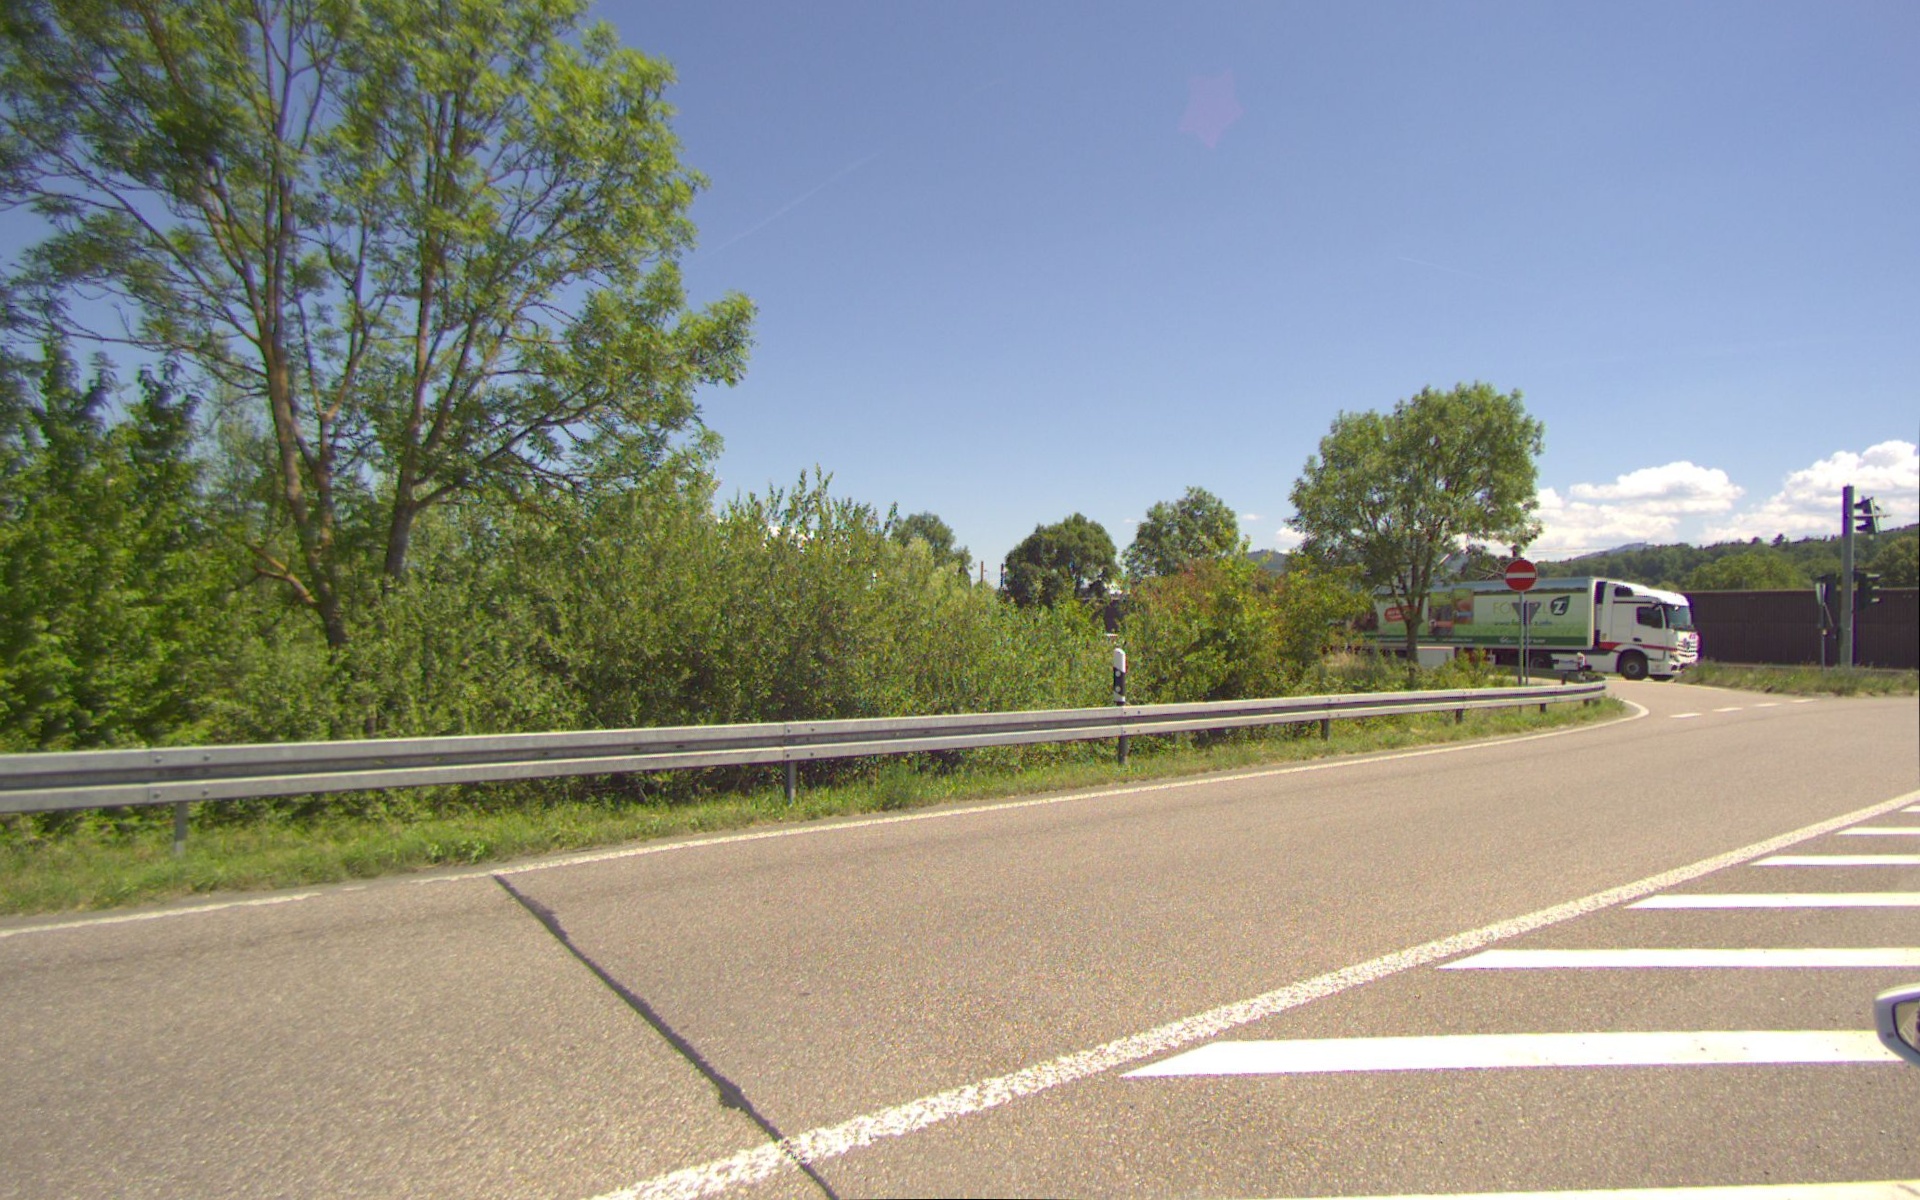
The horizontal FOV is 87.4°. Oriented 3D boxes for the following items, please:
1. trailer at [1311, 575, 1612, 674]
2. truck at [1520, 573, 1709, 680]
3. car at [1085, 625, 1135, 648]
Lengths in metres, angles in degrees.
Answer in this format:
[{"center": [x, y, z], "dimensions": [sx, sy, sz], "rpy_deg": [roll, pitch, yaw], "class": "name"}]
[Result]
[{"center": [22.834, 1.054, 47.192], "dimensions": [3.027, 4.007, 13.074], "rpy_deg": [2, -1, -31], "class": "trailer"}, {"center": [26.529, 1.048, 40.959], "dimensions": [3.027, 4.007, 5.736], "rpy_deg": [2, -1, -31], "class": "truck"}, {"center": [10.374, 2.530, 69.677], "dimensions": [1.537, 1.484, 3.455], "rpy_deg": [2, -1, -31], "class": "car"}]
